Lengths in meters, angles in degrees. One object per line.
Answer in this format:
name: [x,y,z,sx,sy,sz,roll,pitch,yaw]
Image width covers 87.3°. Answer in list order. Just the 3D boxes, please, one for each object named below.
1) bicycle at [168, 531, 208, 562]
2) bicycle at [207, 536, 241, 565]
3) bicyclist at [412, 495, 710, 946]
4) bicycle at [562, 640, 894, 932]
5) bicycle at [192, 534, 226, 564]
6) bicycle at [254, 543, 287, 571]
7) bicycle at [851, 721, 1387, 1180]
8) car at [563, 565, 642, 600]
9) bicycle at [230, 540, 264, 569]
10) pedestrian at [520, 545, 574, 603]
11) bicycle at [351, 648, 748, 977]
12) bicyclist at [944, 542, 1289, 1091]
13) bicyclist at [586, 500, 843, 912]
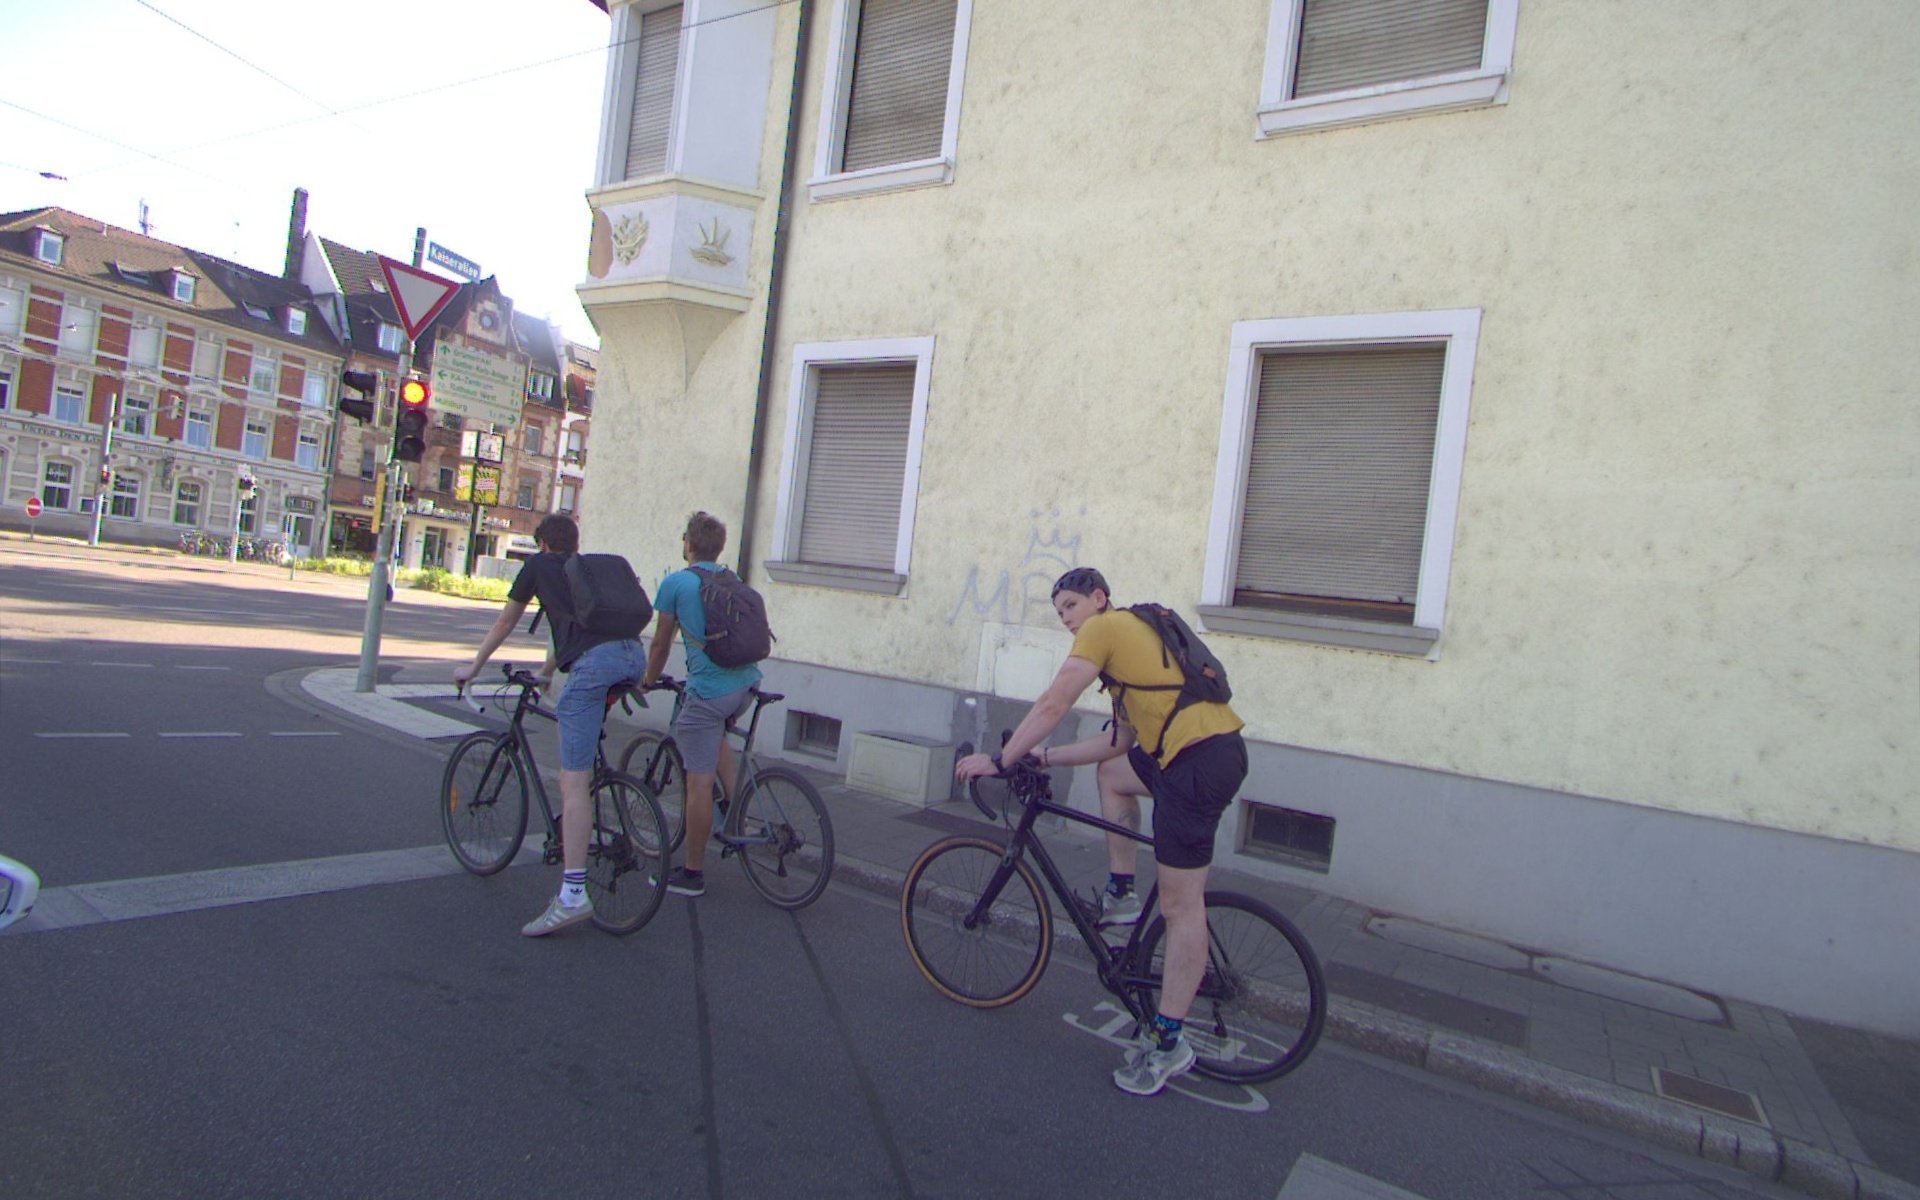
bicycle: [-35.070,-2.440,45.683,2.140,1.157,0.806,7,0,37]
bicycle: [-34.220,-2.303,46.763,2.140,1.157,0.618,7,0,37]
bicyclist: [-1.816,0.474,4.551,1.083,1.775,0.562,7,0,34]
bicycle: [-1.267,0.887,5.286,1.784,1.130,0.519,7,0,34]
bicycle: [-34.556,-2.351,46.286,2.140,1.157,0.618,7,0,37]
bicycle: [-33.123,-2.062,48.319,2.102,1.150,0.609,7,0,37]
bicycle: [0.539,1.148,3.772,1.780,1.101,0.611,7,0,32]
car: [-23.180,-1.115,65.325,2.116,1.660,4.340,7,-1,31]
bicycle: [-33.688,-2.155,47.515,2.140,1.157,0.618,7,0,37]
pedestrian: [-16.576,-1.033,40.382,1.285,2.068,1.321,7,0,31]
bicycle: [-1.927,0.856,4.597,1.897,1.023,0.645,7,0,34]
bicyclist: [0.589,0.719,3.786,0.939,1.742,0.582,7,0,32]
bicyclist: [-1.283,0.501,5.251,0.961,1.917,0.602,6,-1,34]
